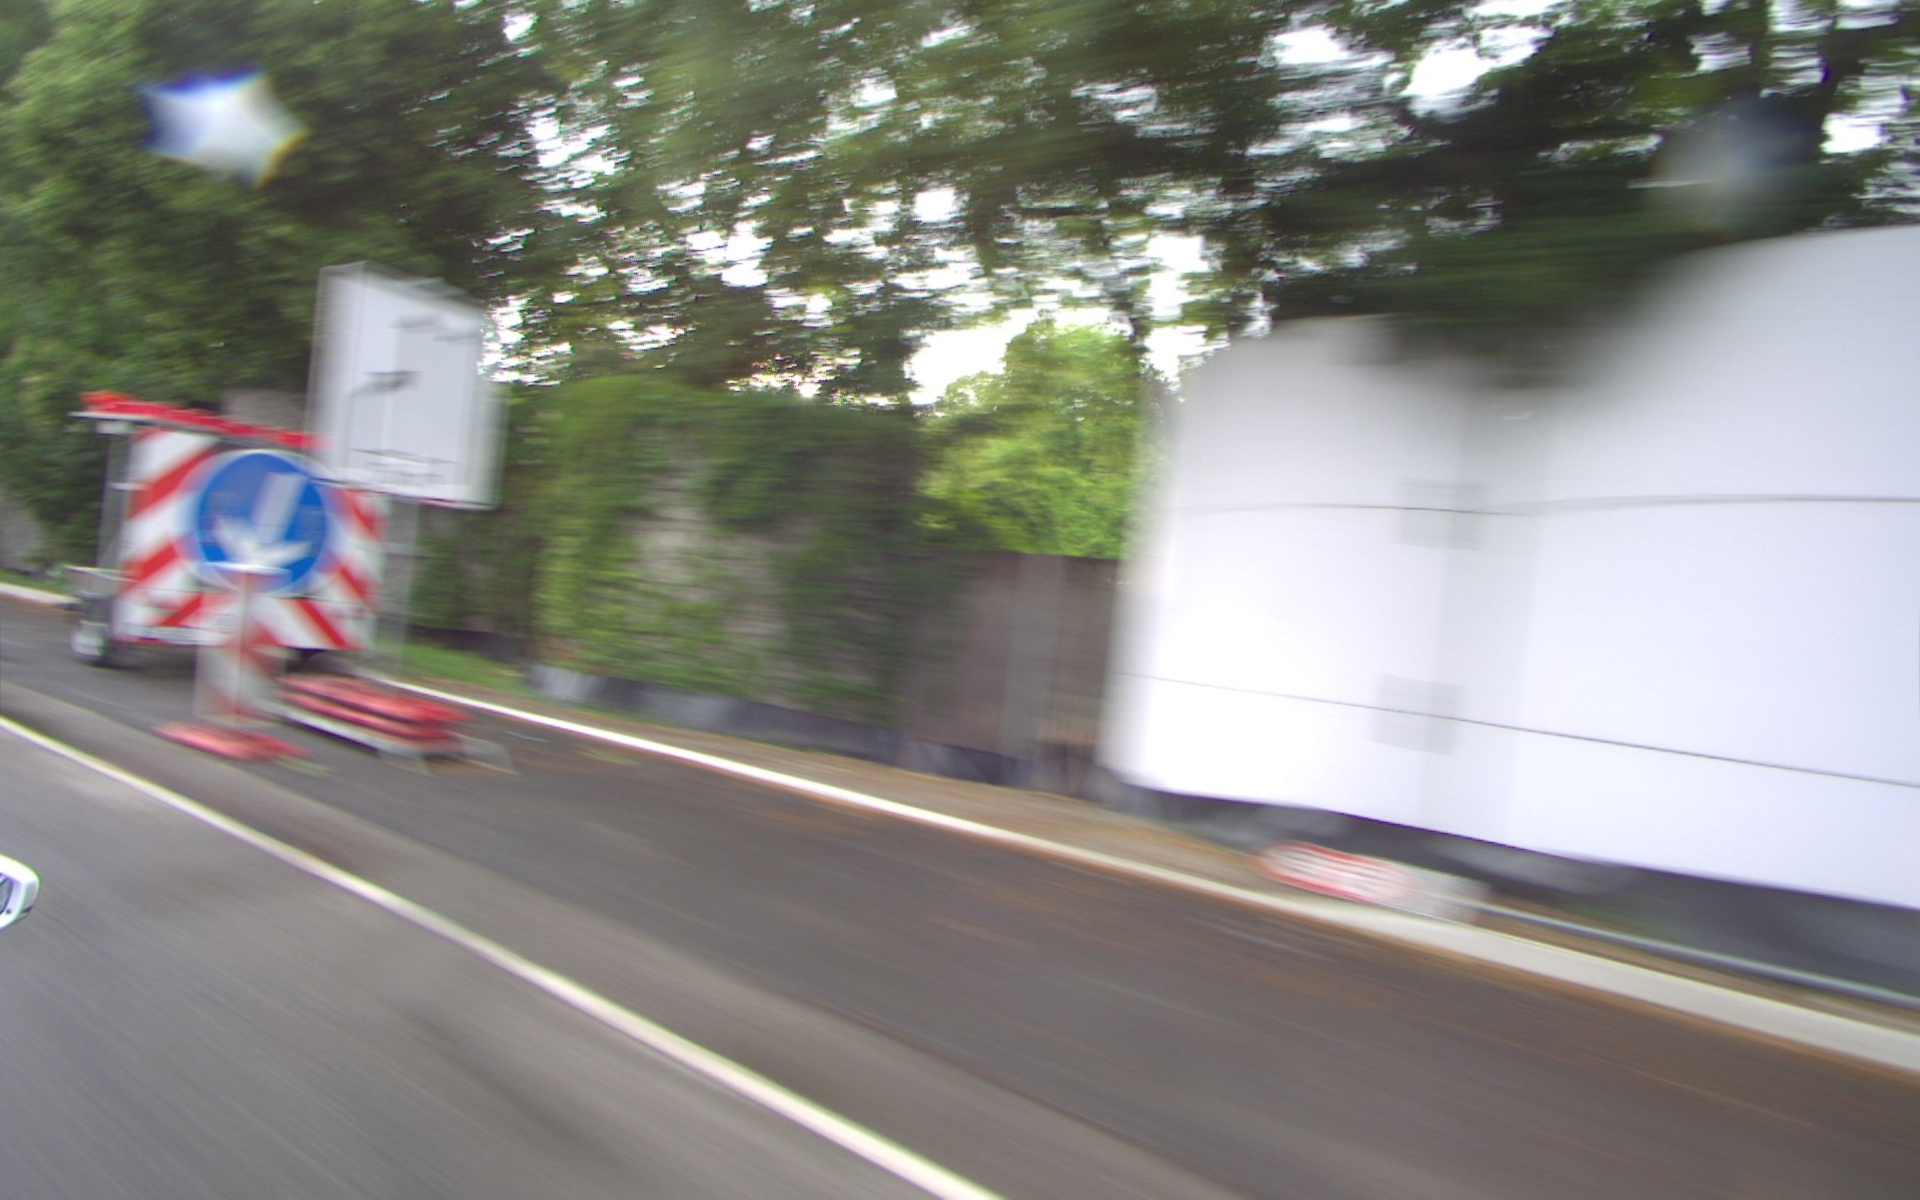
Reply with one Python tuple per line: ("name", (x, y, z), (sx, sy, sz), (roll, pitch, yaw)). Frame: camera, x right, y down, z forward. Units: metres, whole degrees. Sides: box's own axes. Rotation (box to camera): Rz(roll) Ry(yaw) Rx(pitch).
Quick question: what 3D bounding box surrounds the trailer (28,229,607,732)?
("trailer", (-6.459, -0.996, 9.822), (5.864, 3.632, 2.310), (6, -1, 33))
